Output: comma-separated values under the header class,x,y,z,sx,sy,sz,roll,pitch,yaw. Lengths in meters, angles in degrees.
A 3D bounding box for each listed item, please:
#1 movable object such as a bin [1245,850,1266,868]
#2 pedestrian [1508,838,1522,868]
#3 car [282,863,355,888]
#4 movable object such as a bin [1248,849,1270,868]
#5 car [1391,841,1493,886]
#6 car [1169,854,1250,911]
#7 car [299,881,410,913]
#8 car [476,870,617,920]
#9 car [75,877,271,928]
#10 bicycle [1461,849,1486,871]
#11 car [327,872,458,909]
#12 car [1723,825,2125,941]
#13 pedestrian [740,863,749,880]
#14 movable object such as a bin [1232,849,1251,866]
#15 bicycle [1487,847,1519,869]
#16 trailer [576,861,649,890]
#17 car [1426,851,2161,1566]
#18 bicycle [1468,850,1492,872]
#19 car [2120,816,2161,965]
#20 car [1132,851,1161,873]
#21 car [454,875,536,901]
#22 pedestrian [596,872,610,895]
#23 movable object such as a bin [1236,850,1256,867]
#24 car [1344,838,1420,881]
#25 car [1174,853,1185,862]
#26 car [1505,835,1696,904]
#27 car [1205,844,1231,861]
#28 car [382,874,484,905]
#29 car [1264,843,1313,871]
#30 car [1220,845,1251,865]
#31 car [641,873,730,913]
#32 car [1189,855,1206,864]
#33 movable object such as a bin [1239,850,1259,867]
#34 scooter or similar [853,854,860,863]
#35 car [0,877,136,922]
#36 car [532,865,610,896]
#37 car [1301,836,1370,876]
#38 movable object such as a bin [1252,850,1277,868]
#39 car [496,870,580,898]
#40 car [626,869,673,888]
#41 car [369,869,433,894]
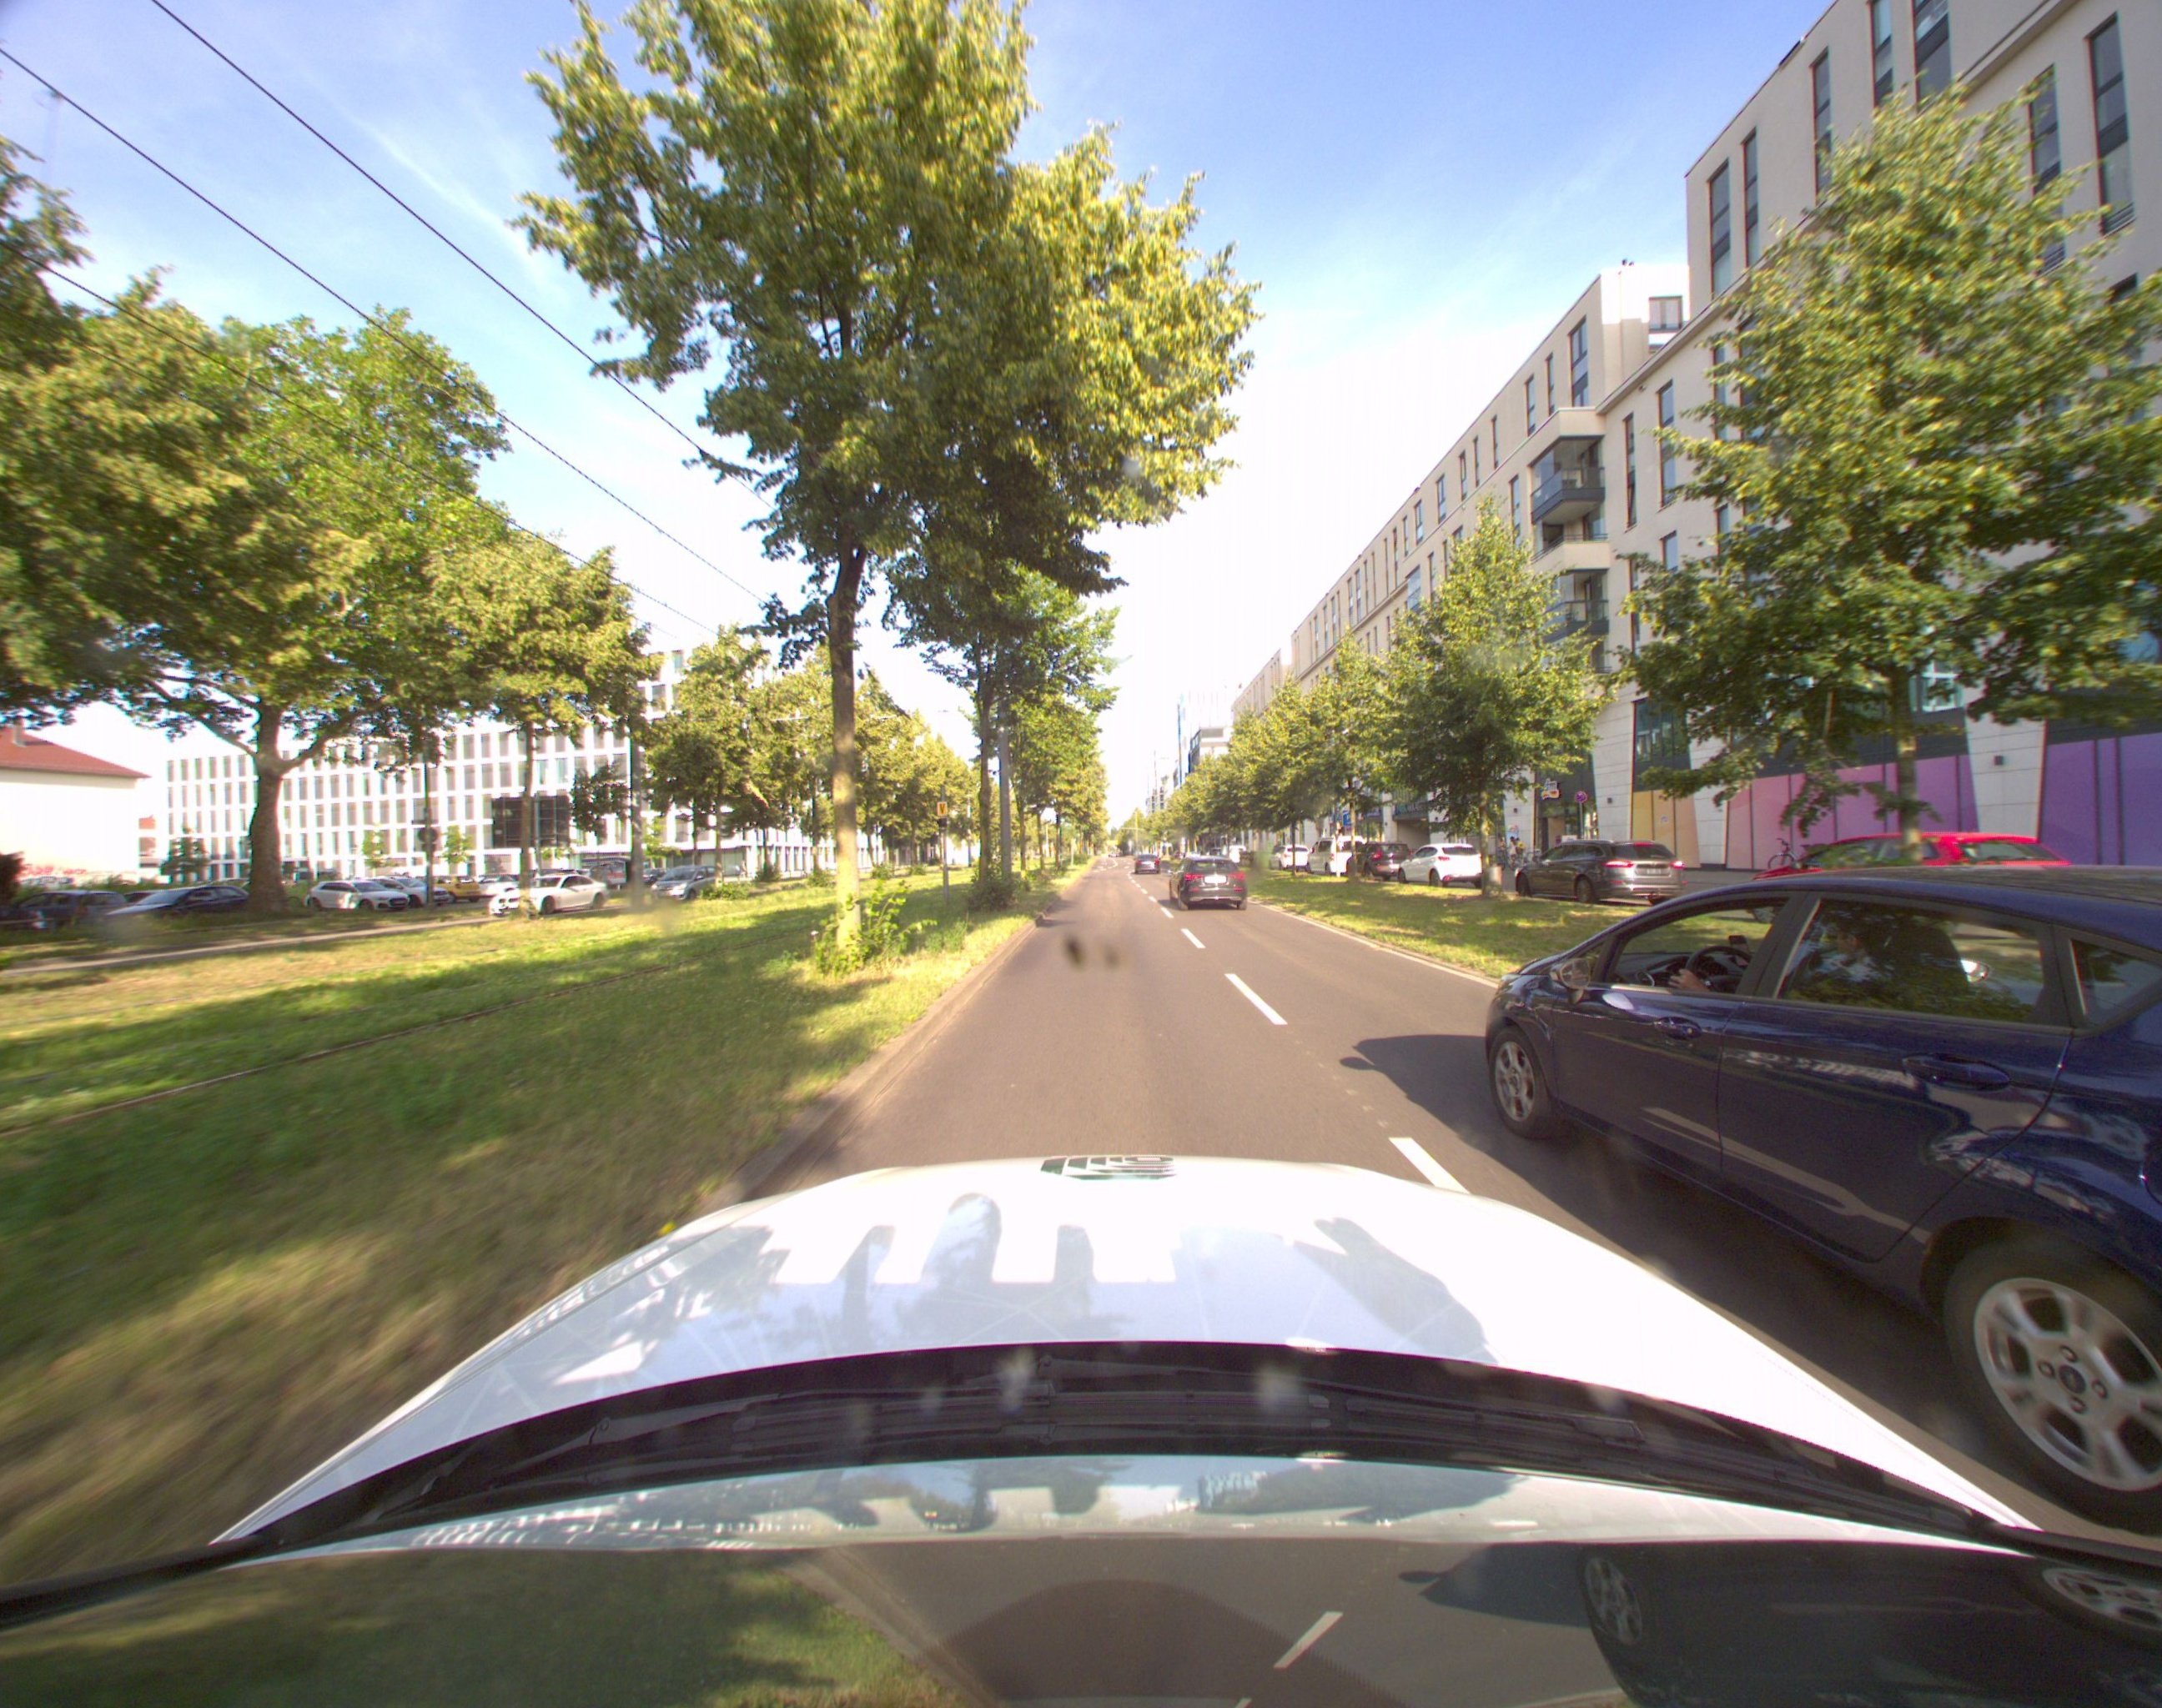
class,x,y,z,sx,sy,sz,roll,pitch,yaw
movable object such as a bin,12.727,0.346,59.509,1.274,1.317,1.190,0,-1,-2
pedestrian,21.790,-0.057,40.925,0.590,1.522,0.518,0,-1,23
car,-69.407,1.940,74.245,1.836,2.158,4.511,0,-1,14
movable object such as a bin,12.719,0.336,58.163,1.274,1.302,1.190,0,-1,-2
car,12.253,0.327,27.926,1.611,1.412,4.166,0,0,-1
car,3.463,0.731,22.595,1.767,1.424,3.962,0,0,2
car,-33.902,1.987,38.054,3.631,1.428,1.811,0,-1,3
car,-18.857,1.399,29.044,1.675,1.476,4.815,-4,-1,2
car,-28.908,1.497,26.140,1.675,1.435,4.037,0,0,2
bicycle,19.765,0.312,41.035,0.343,1.081,1.733,-5,-1,2
car,-34.448,1.818,40.807,5.038,1.735,1.887,0,-1,3
car,12.072,0.374,12.146,1.723,1.432,4.112,0,0,-1
pedestrian,-34.280,1.765,82.951,0.565,1.728,0.692,0,-1,1
movable object such as a bin,12.573,0.301,63.901,1.274,1.291,1.177,0,-1,-2
bicycle,19.732,0.184,38.137,0.417,1.000,2.045,-5,-1,2
trailer,-33.981,1.513,59.148,4.344,2.054,1.760,0,-1,4
car,2.973,0.722,3.324,1.554,1.424,3.908,0,0,1
bicycle,20.117,0.366,41.076,0.343,1.081,1.743,-5,-1,2
car,11.897,0.358,6.360,1.863,1.491,4.410,0,0,-3
car,4.618,0.540,57.867,1.853,1.524,3.787,0,0,2
car,-34.327,1.970,47.789,3.554,1.425,1.727,0,-1,2
pedestrian,-31.474,1.950,53.642,0.520,1.480,0.568,0,-1,0
movable object such as a bin,12.579,0.358,62.213,1.274,1.237,1.190,0,-1,-2
car,12.457,0.225,33.952,1.721,1.650,4.342,0,0,2
car,15.292,0.562,126.189,1.598,1.370,4.165,0,0,6
car,12.032,0.333,19.317,1.721,1.432,4.725,0,0,3
car,14.210,-0.224,84.478,1.891,1.708,4.677,0,1,0
car,-34.442,1.870,43.369,3.969,1.560,1.858,0,-1,3
car,12.948,0.170,51.070,1.725,1.630,4.848,-2,0,-1
car,13.662,0.128,72.209,1.822,1.711,4.294,0,0,-1
car,-15.502,1.492,32.117,1.577,1.393,3.698,0,0,2
car,14.978,0.703,104.946,1.702,1.242,3.905,0,0,1
movable object such as a bin,12.575,0.350,60.914,1.274,1.237,1.190,0,-1,-2
scooter or similar,-32.717,0.672,118.603,0.333,1.226,1.304,0,-1,15
car,-36.008,1.568,28.681,3.835,1.486,1.748,0,-1,9
car,-33.434,1.717,53.417,3.977,1.947,1.758,0,-1,2
car,12.638,0.095,40.750,1.832,1.876,5.029,0,0,-1
movable object such as a bin,12.749,0.325,56.613,1.385,1.237,1.343,0,-1,28
car,-33.429,1.824,50.175,3.977,1.643,1.758,0,-1,2
car,-33.345,1.847,63.075,1.675,1.393,3.759,0,0,-2
car,-72.421,2.888,86.838,1.791,2.532,5.053,0,-1,18
